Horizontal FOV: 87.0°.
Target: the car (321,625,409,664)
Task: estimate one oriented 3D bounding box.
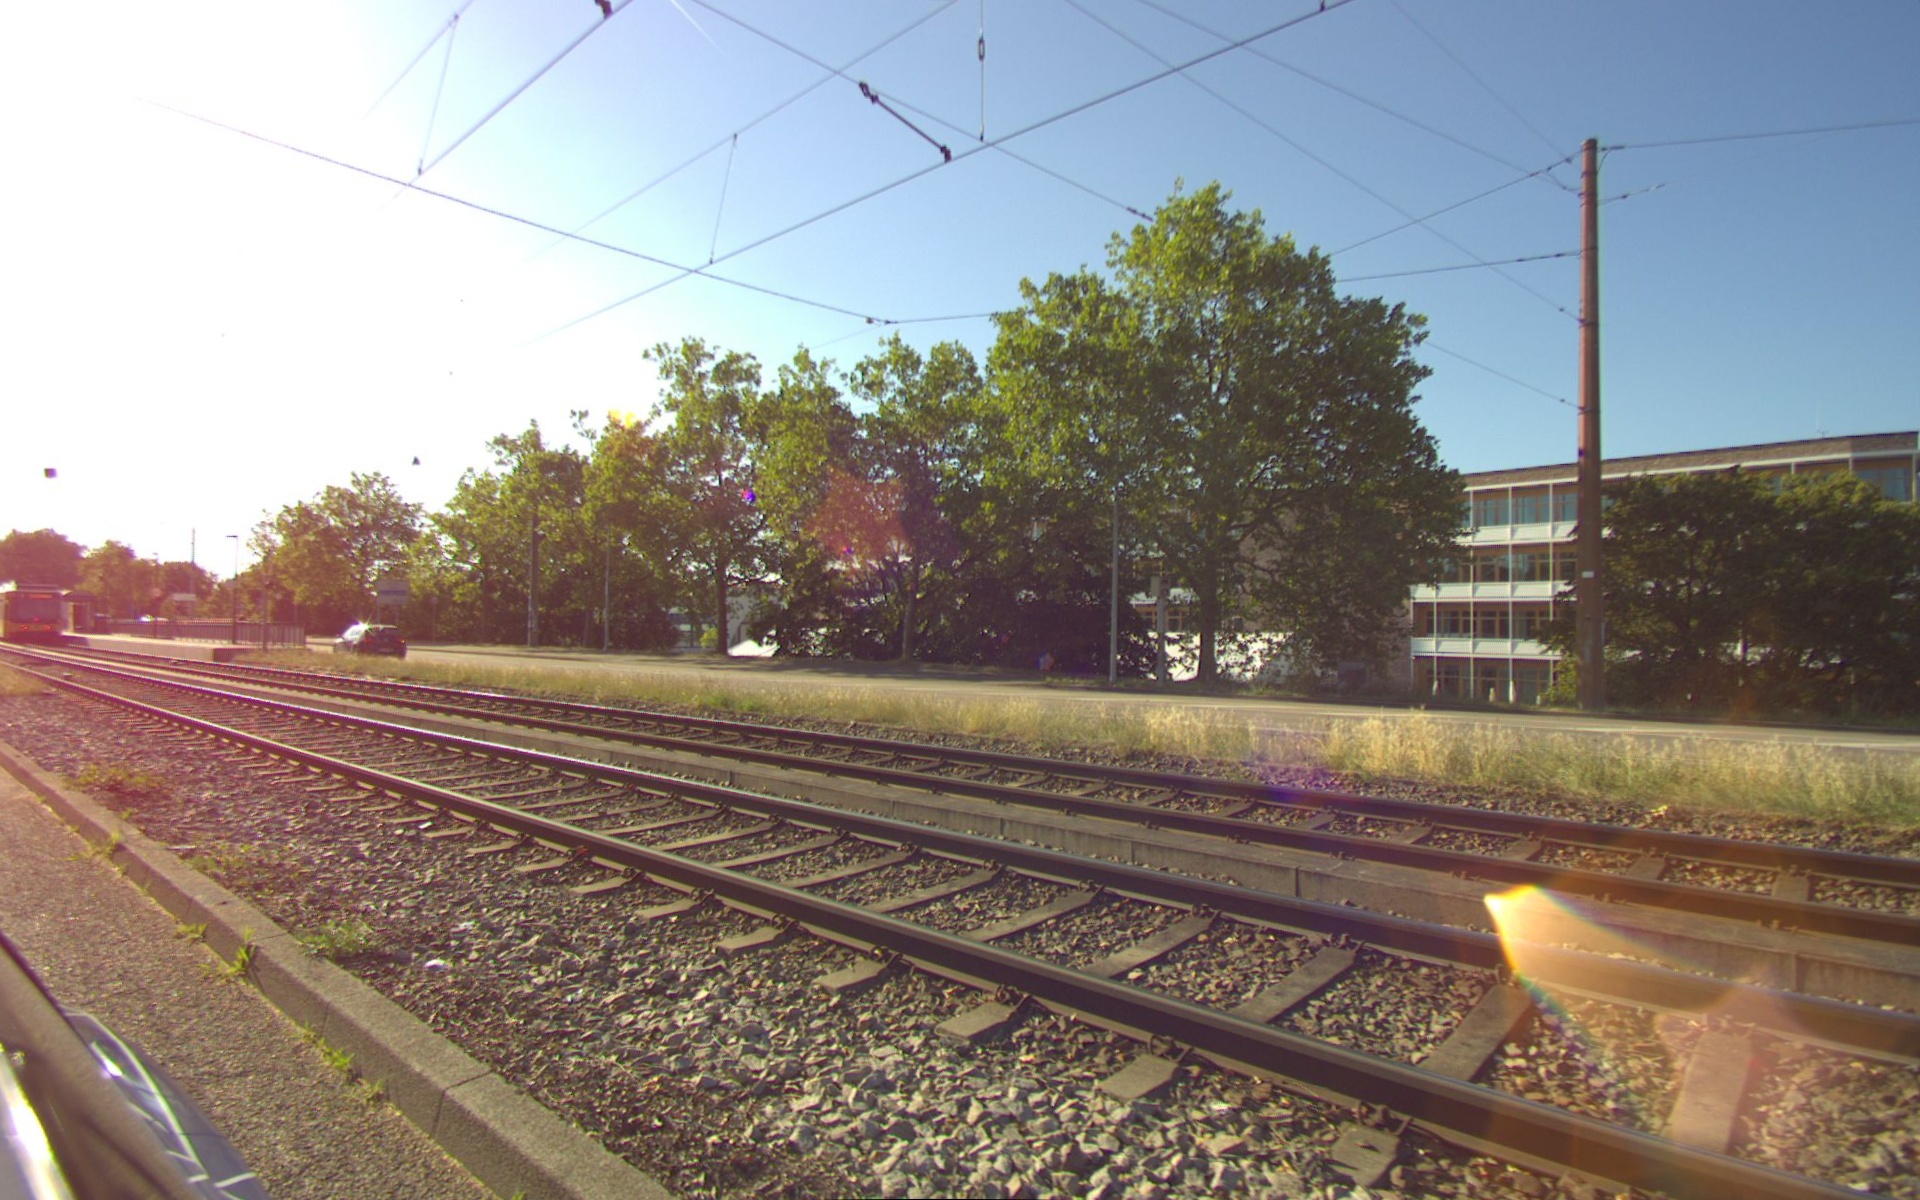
[{"bbox_3d":[-23.403,1.725,39.748,4.488,1.436,1.754,-1,-2,43],"label":"car"}]

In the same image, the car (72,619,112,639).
[{"bbox_3d":[-72.138,2.398,84.099,4.334,1.573,1.972,-1,-1,42],"label":"car"}]

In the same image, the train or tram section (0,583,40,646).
[{"bbox_3d":[-67.001,0.998,70.603,15.873,4.036,2.797,-1,-1,43],"label":"train or tram section"}]

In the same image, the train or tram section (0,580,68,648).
[{"bbox_3d":[-56.384,0.843,60.850,12.967,3.715,2.797,-1,-1,43],"label":"train or tram section"}]

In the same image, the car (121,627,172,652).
[{"bbox_3d":[-55.037,2.668,68.449,4.542,1.573,1.972,-1,-1,42],"label":"car"}]
